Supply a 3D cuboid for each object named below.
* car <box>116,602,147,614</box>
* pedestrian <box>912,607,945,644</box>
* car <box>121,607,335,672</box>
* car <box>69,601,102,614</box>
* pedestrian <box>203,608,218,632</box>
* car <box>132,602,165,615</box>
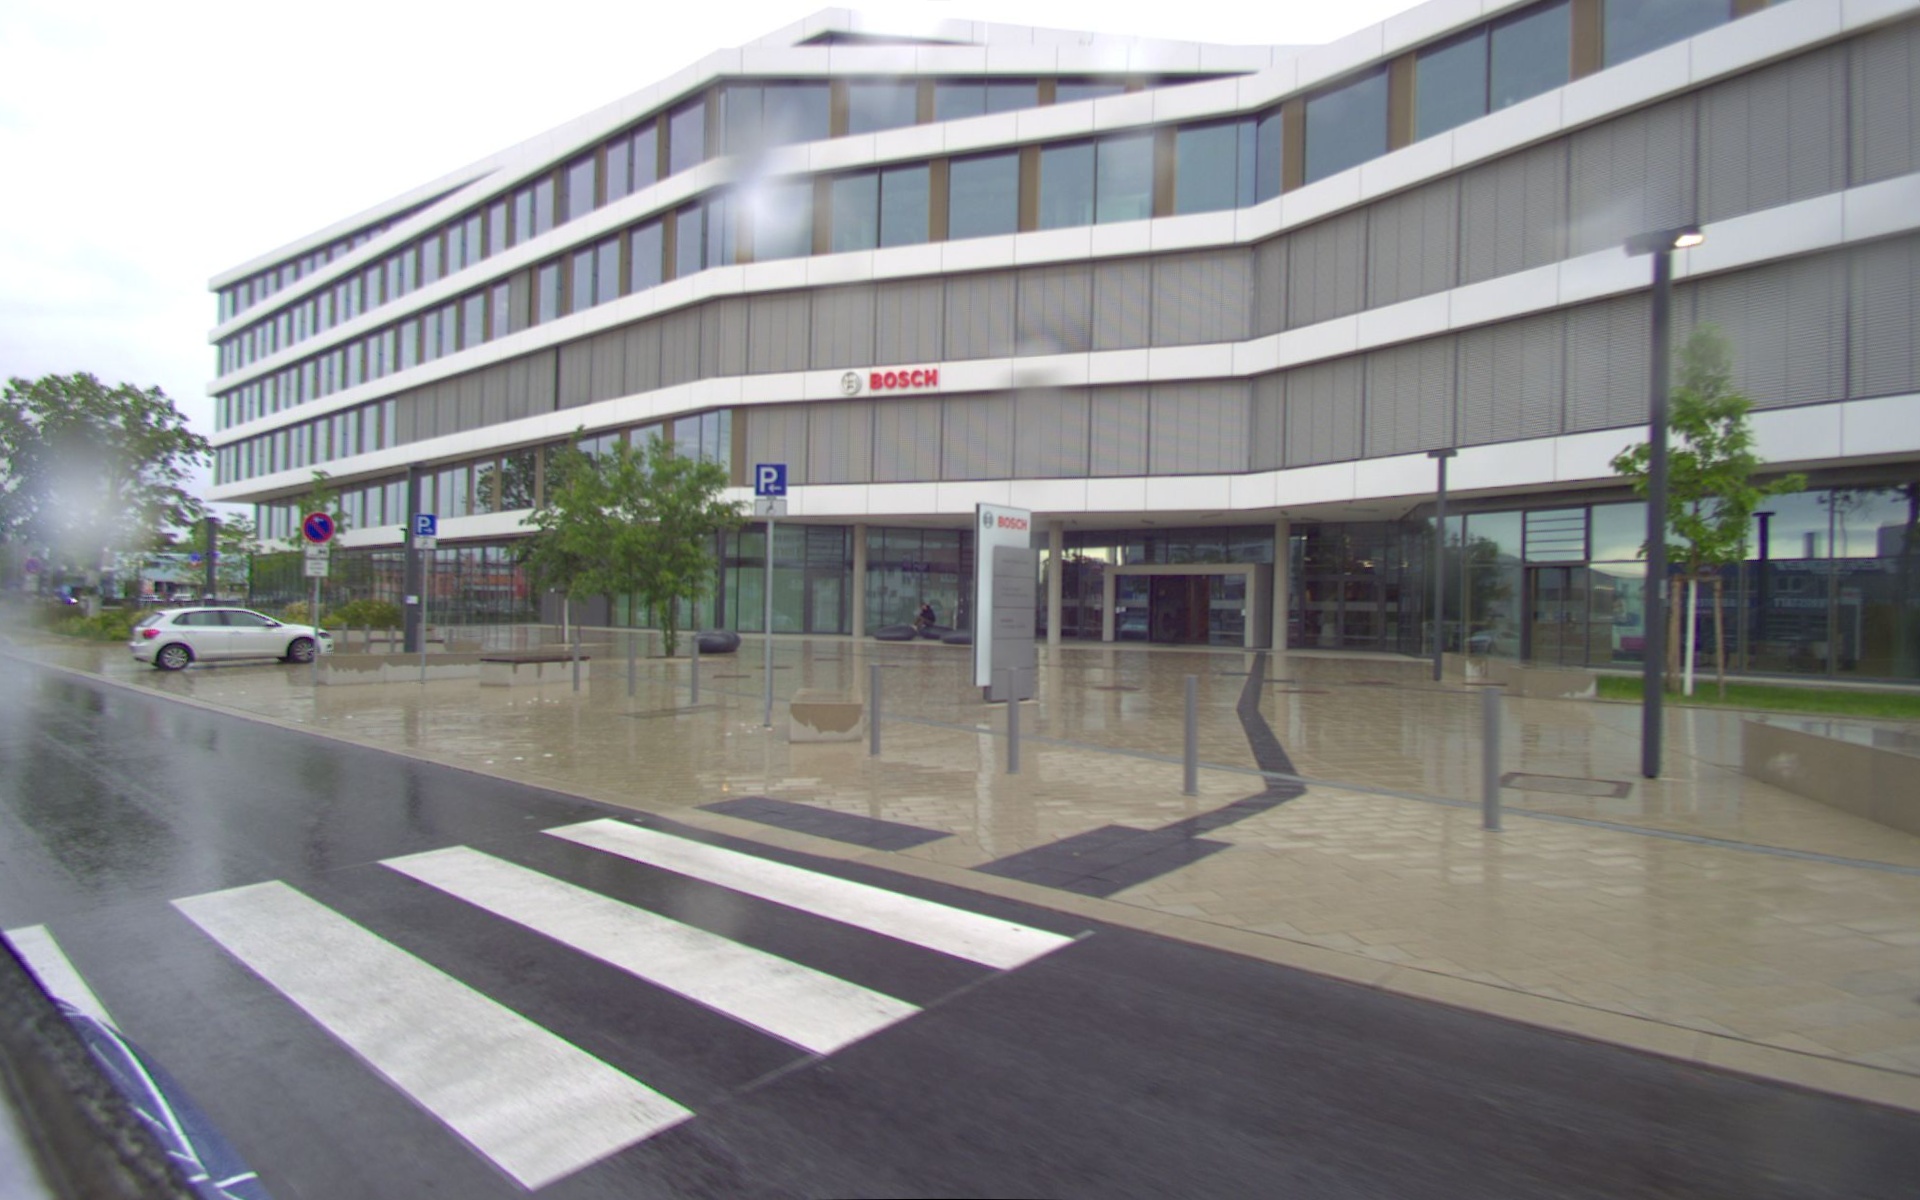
[{"bbox_3d":[-96.496,0.925,117.944,1.855,1.305,4.013,-2,1,-25],"label":"car"},{"bbox_3d":[-1.183,0.975,38.646,1.051,1.324,0.895,0,3,14],"label":"pedestrian"},{"bbox_3d":[-17.680,0.907,24.564,1.897,1.434,3.886,-1,-1,42],"label":"car"},{"bbox_3d":[-107.625,0.877,124.559,1.888,1.541,4.013,-1,0,-22],"label":"car"},{"bbox_3d":[-56.971,1.510,76.956,0.957,1.716,0.716,2,4,44],"label":"pedestrian"},{"bbox_3d":[-86.824,0.855,108.343,1.855,1.305,4.013,-2,1,-25],"label":"car"}]
